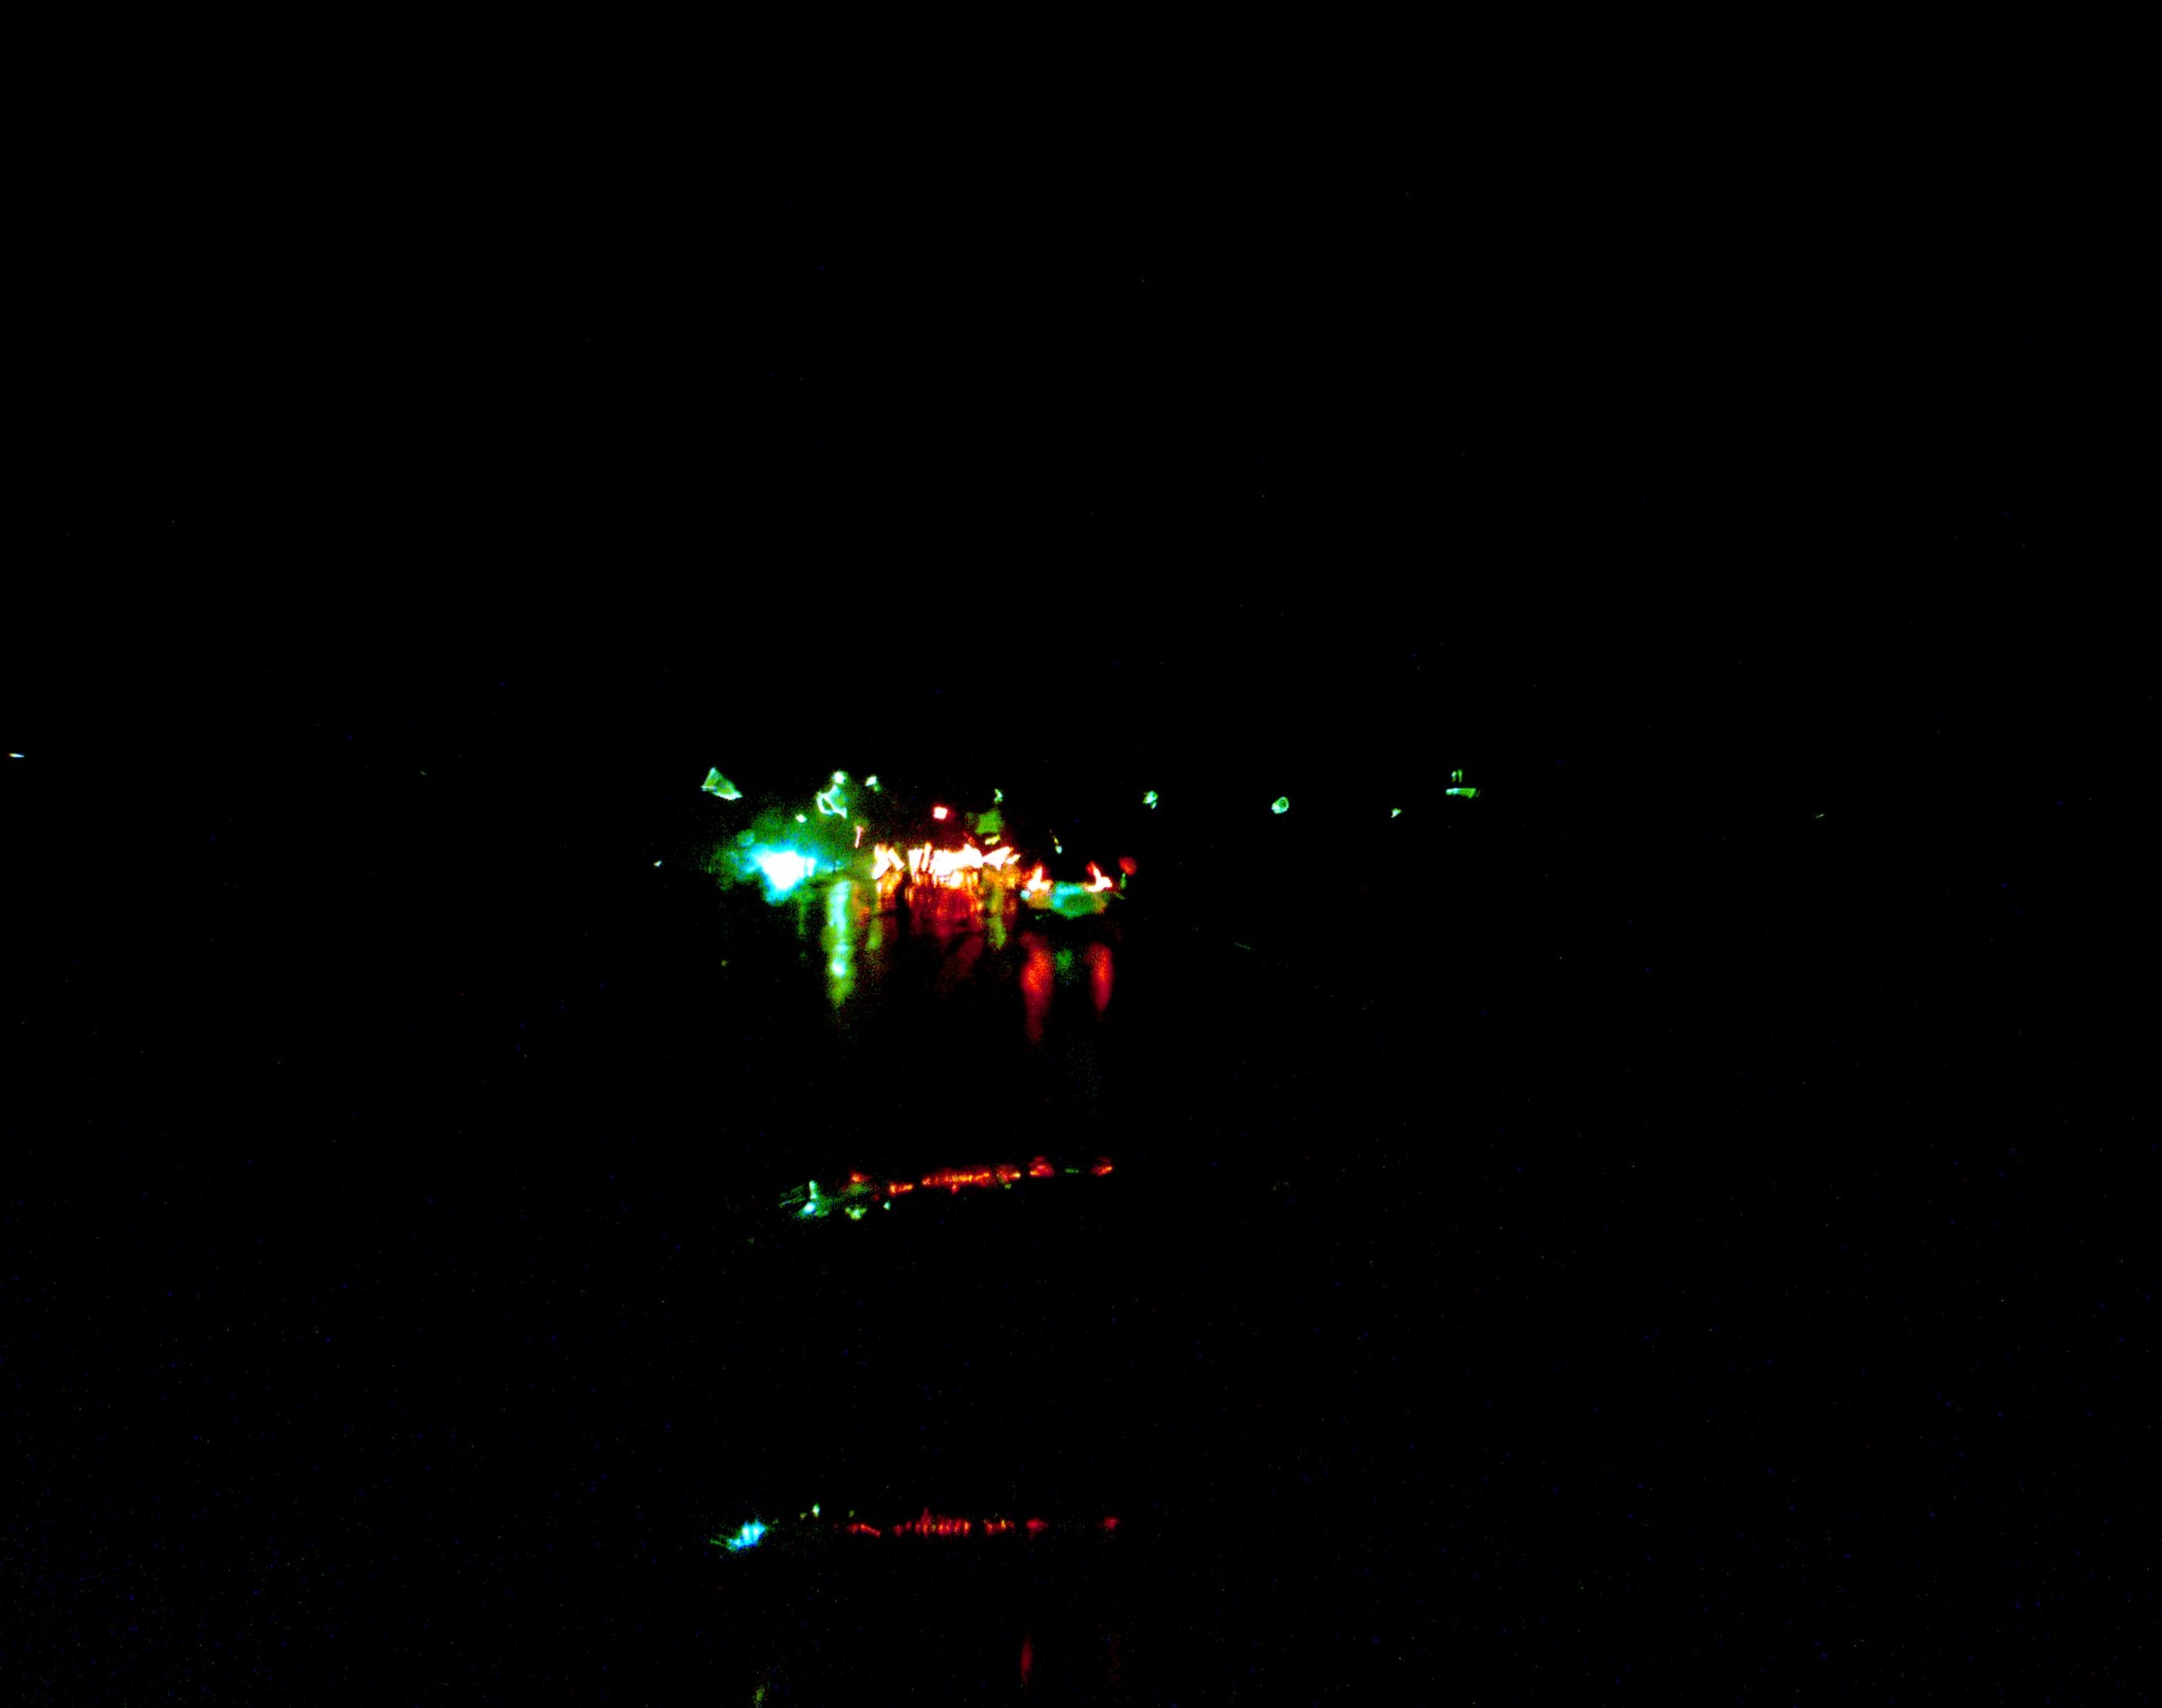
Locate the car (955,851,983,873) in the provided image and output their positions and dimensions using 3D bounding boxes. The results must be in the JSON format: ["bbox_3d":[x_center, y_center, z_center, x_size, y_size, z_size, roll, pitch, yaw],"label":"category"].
[{"bbox_3d":[-9.343,0.655,67.594,1.994,1.627,4.966,-3,1,-11],"label":"car"}]

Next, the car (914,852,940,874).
[{"bbox_3d":[-12.791,0.715,67.699,1.994,1.627,4.966,-3,1,-11],"label":"car"}]

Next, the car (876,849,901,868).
[{"bbox_3d":[-18.458,0.442,78.196,1.994,1.627,4.966,-3,1,-11],"label":"car"}]

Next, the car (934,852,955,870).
[{"bbox_3d":[-13.884,0.671,82.677,1.994,1.627,4.966,-3,1,-11],"label":"car"}]

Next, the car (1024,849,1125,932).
[{"bbox_3d":[-0.272,0.761,18.640,1.989,1.628,4.978,-1,-1,-3],"label":"car"}]
